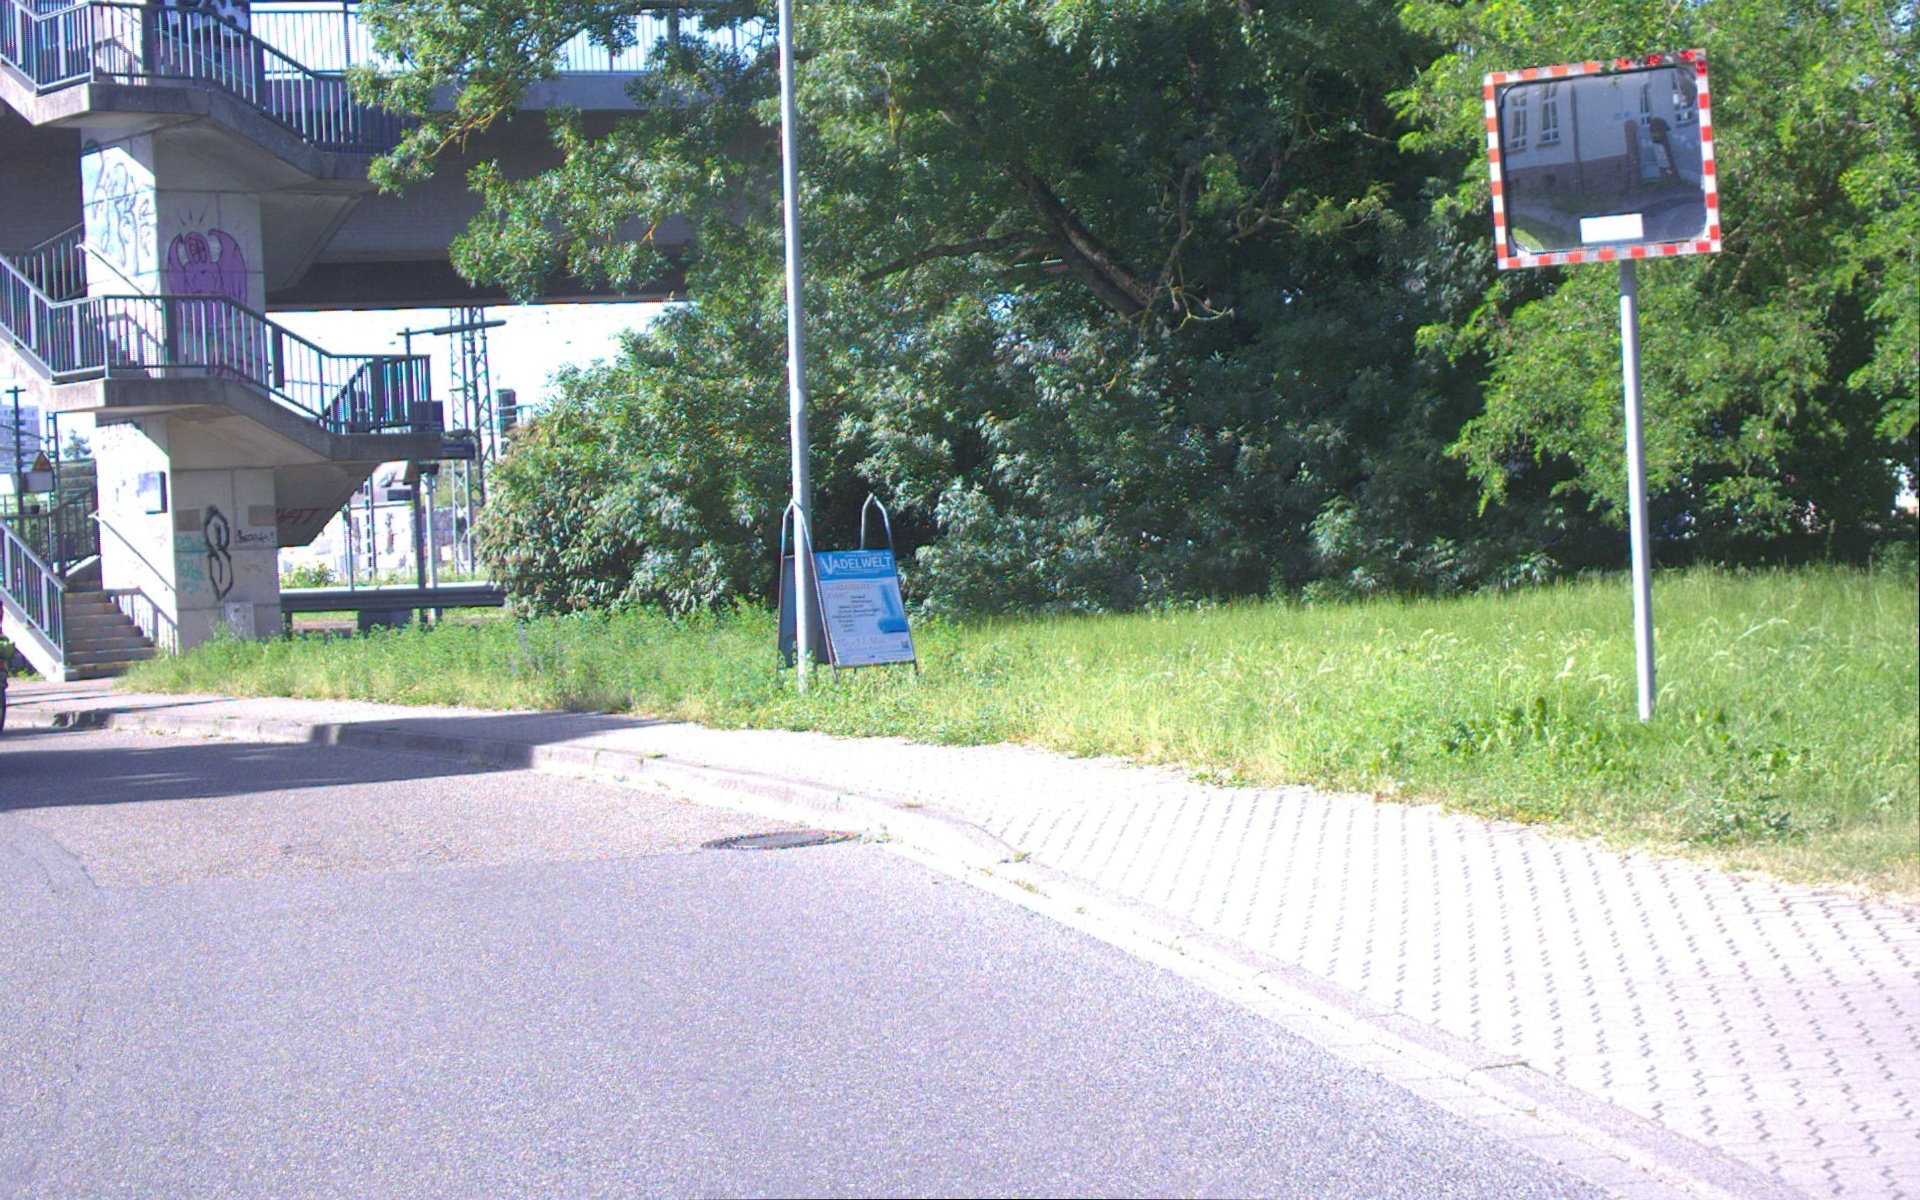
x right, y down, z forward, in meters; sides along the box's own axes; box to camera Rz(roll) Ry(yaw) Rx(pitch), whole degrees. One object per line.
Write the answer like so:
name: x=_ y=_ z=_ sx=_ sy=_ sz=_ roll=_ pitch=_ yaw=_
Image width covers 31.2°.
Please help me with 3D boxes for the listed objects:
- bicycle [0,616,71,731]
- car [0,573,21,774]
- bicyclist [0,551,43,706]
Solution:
bicycle: x=-9.567 y=0.720 z=33.532 sx=0.841 sy=1.048 sz=2.189 roll=-4 pitch=2 yaw=-39
car: x=-9.035 y=0.617 z=26.989 sx=1.942 sy=1.483 sz=4.565 roll=-4 pitch=1 yaw=-31
bicyclist: x=-9.573 y=0.291 z=33.508 sx=0.841 sy=1.483 sz=0.923 roll=-4 pitch=2 yaw=-39
